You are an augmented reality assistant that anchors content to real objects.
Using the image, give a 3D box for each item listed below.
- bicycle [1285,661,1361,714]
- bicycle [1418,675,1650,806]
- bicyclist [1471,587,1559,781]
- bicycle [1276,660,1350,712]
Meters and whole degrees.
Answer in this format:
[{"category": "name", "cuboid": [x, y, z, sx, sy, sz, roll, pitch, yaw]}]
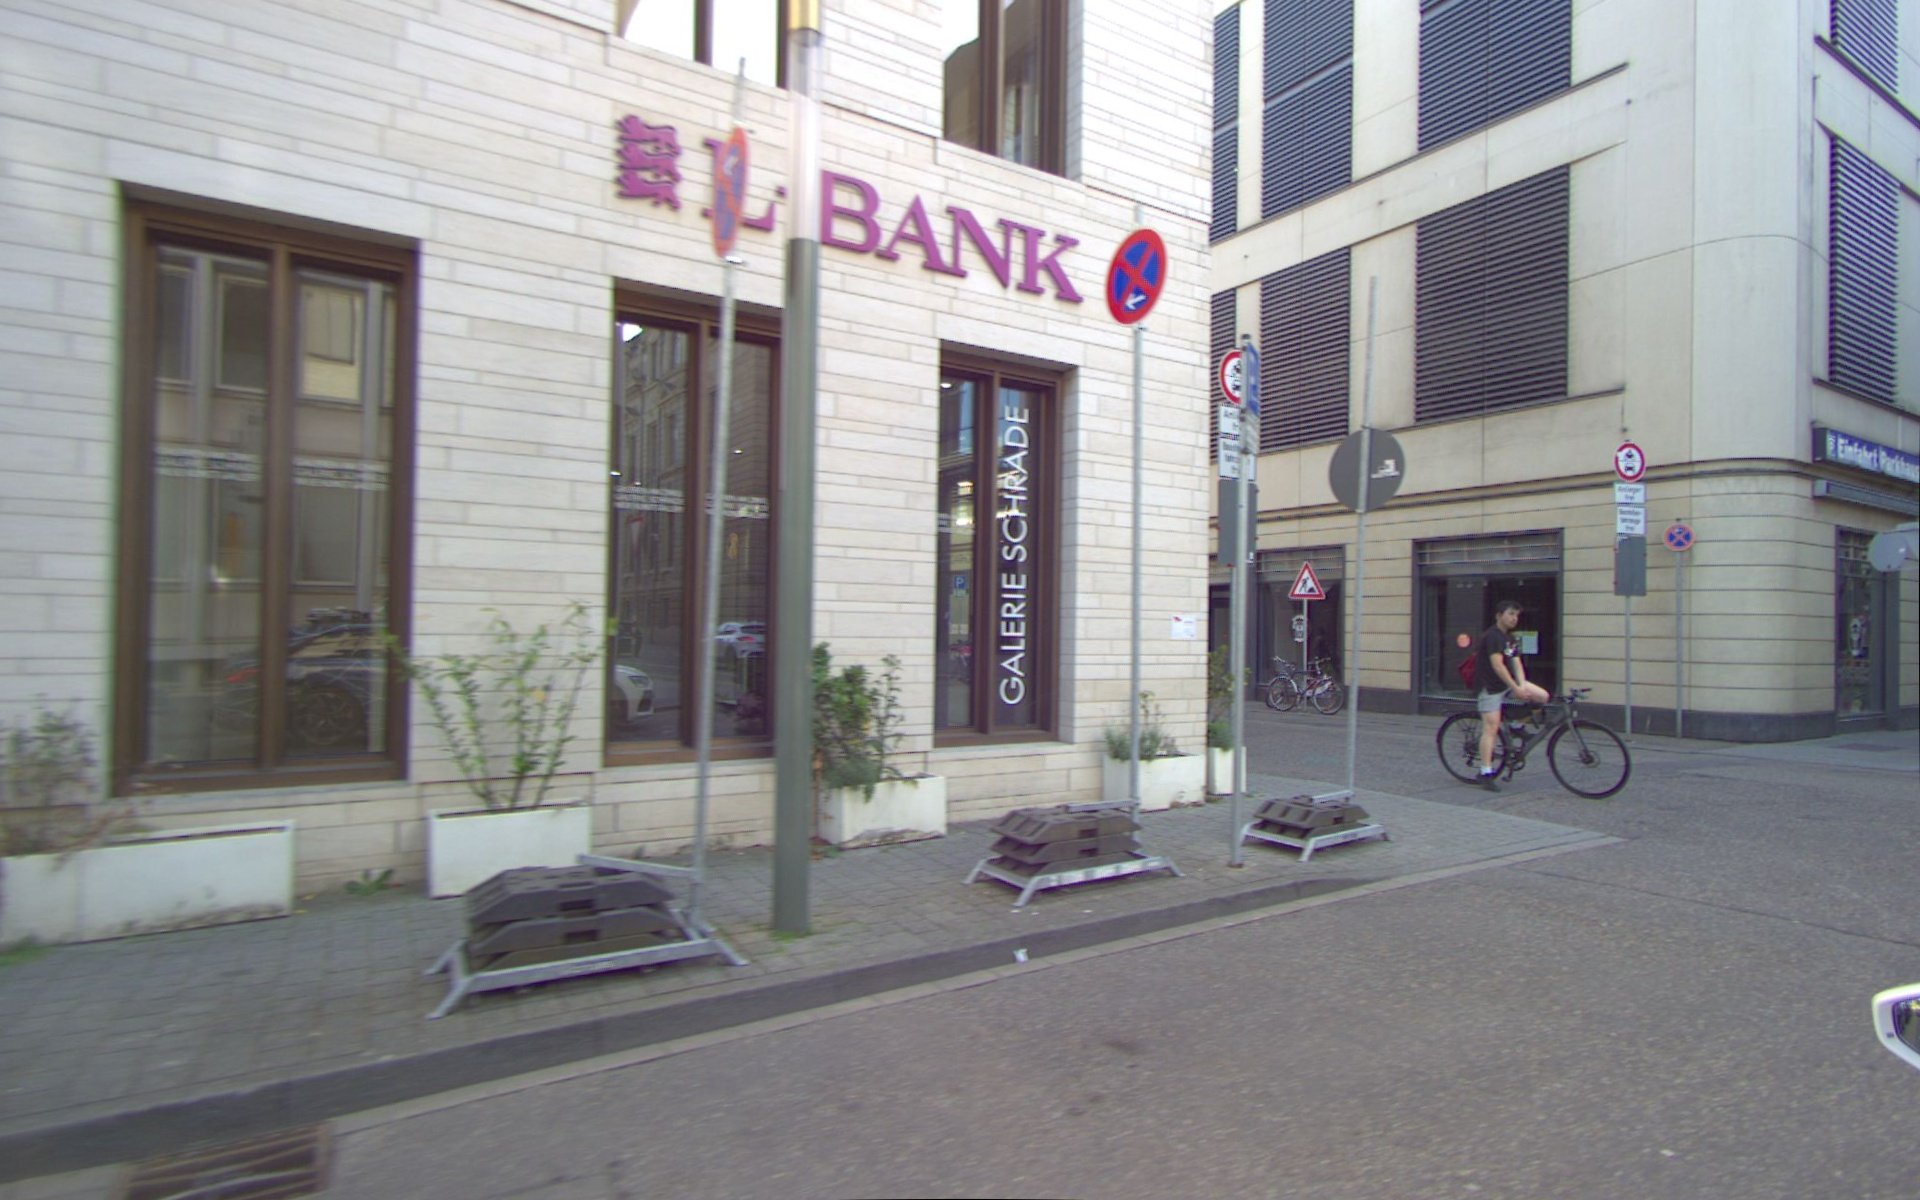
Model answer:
[{"category": "bicycle", "cuboid": [7.405, 1.781, 20.475, 1.492, 1.047, 0.352, 1, -1, -11]}, {"category": "bicycle", "cuboid": [5.281, 1.253, 9.347, 0.507, 0.986, 1.800, 3, -1, -39]}, {"category": "bicyclist", "cuboid": [5.221, 0.768, 9.452, 0.497, 1.754, 0.545, 3, -1, -39]}, {"category": "bicycle", "cuboid": [7.330, 1.784, 20.855, 1.492, 1.047, 0.352, 1, -1, -11]}]
